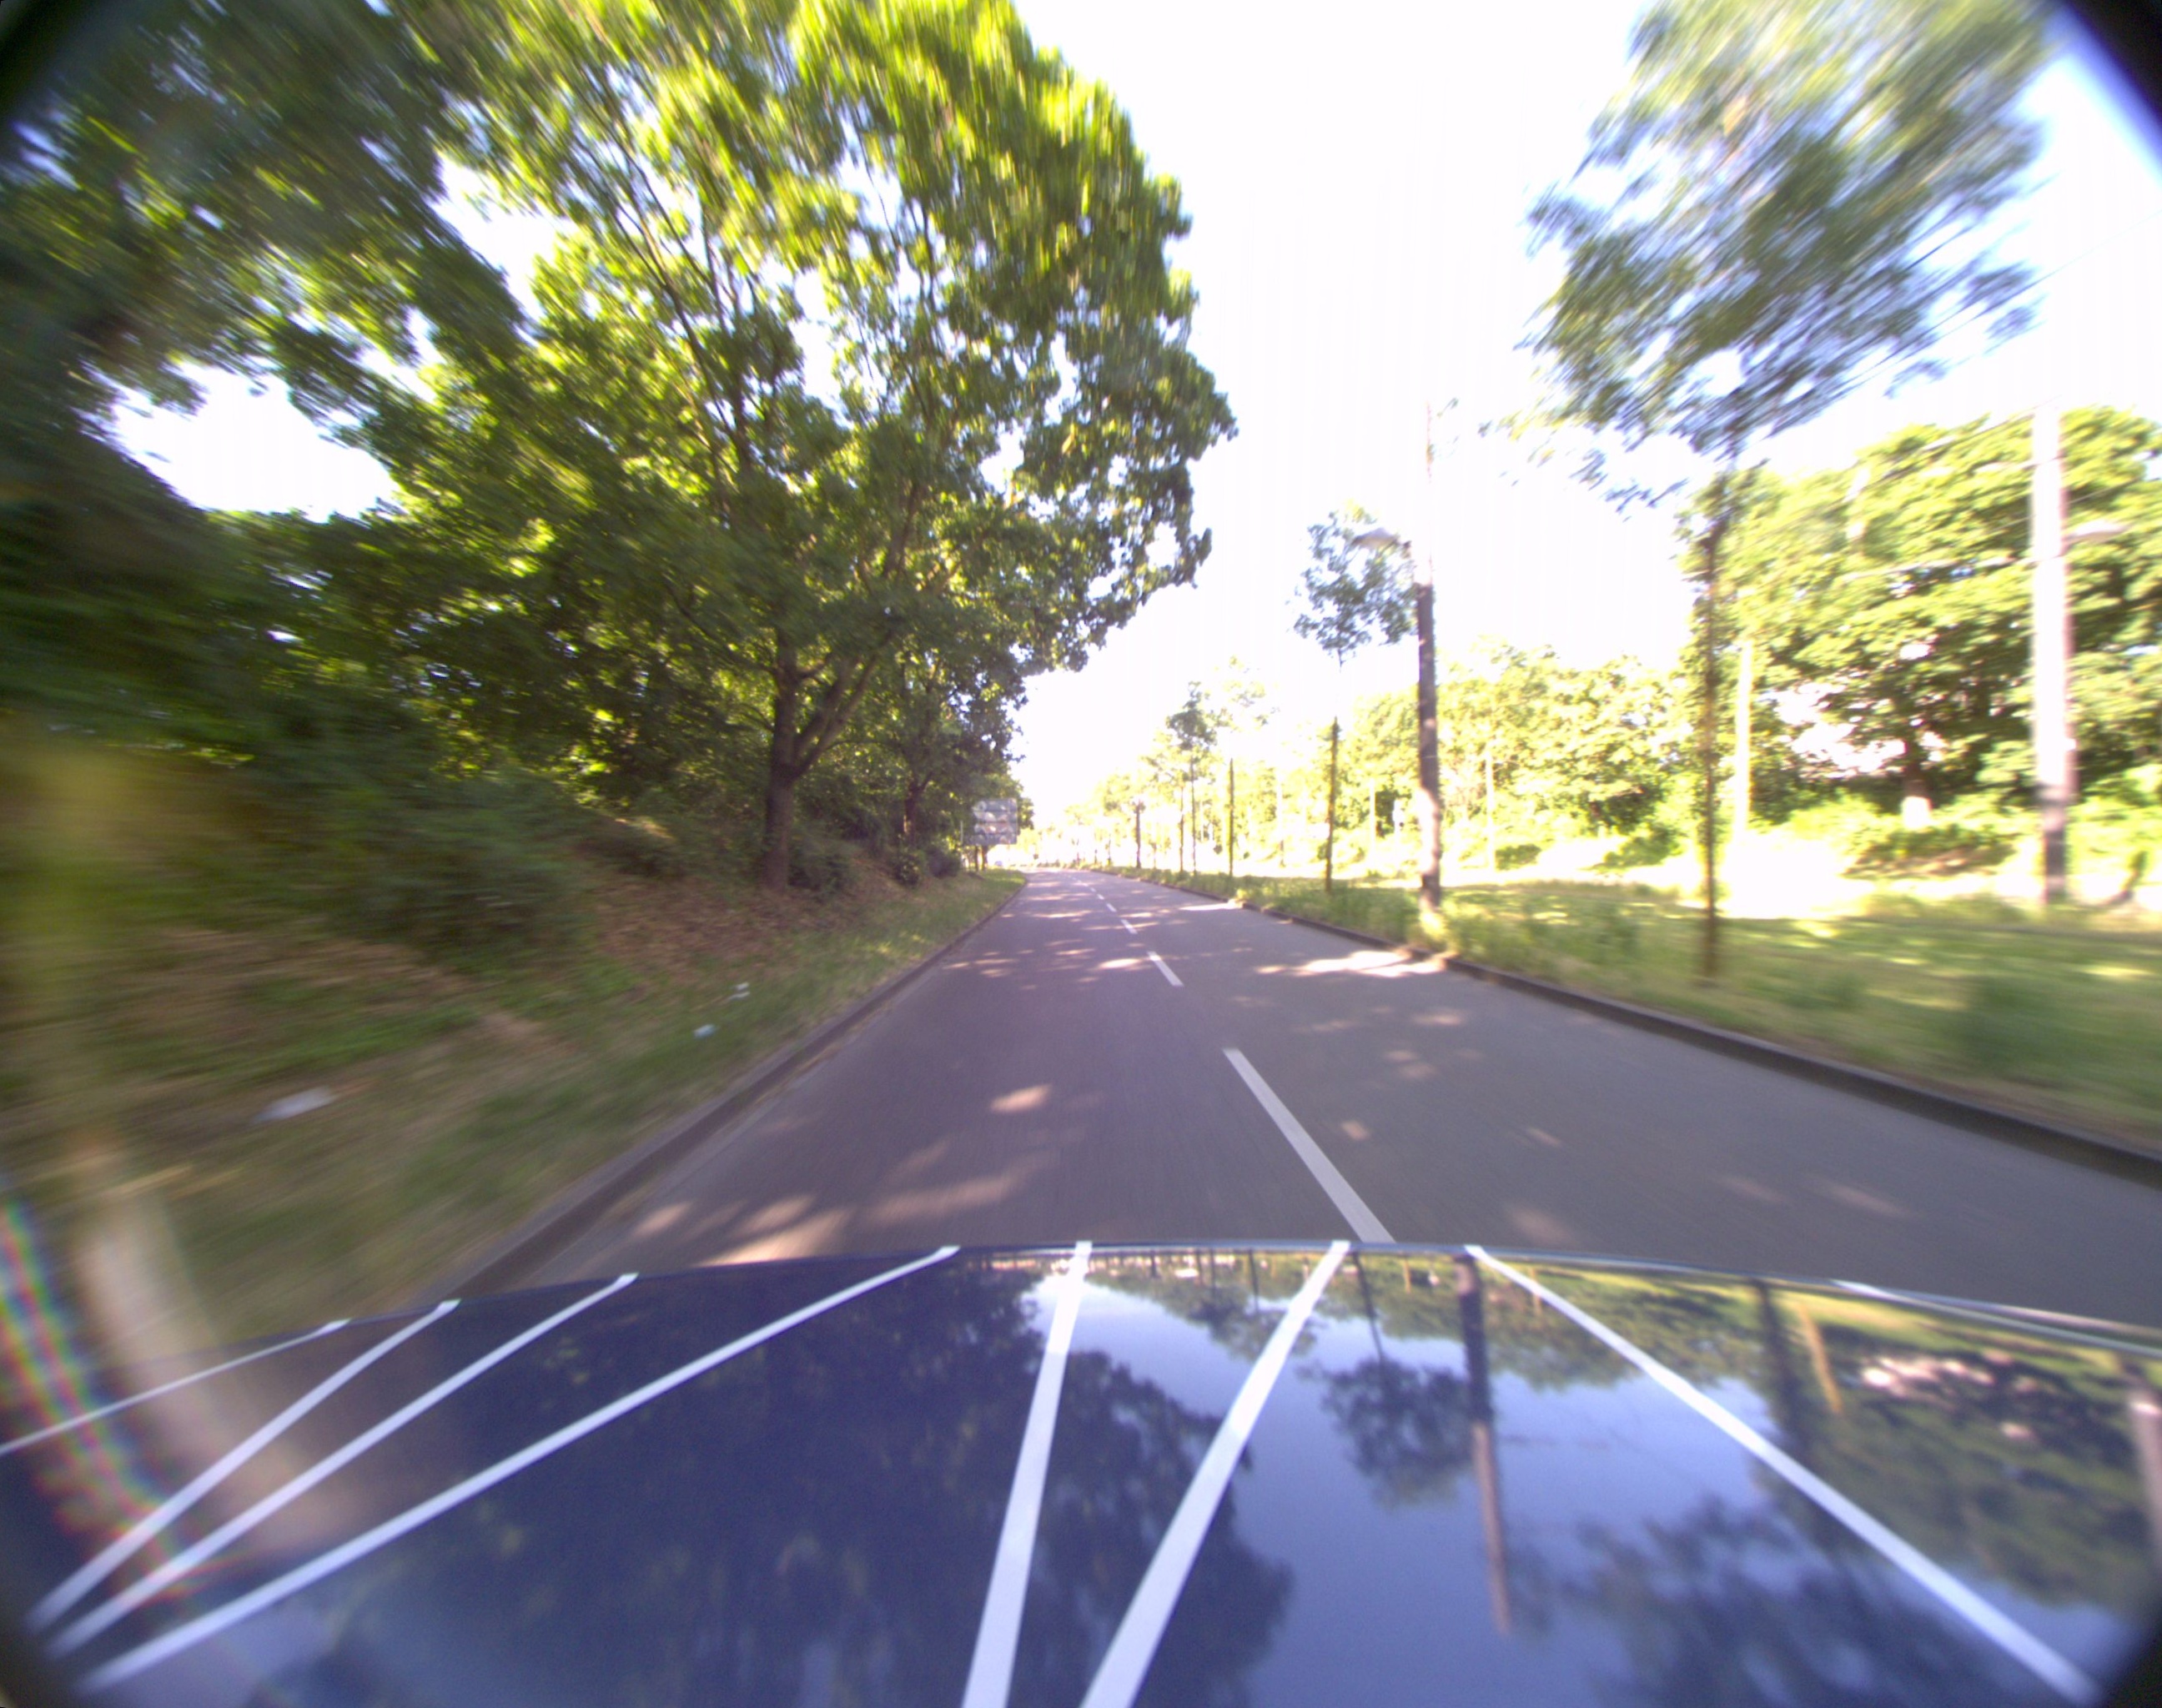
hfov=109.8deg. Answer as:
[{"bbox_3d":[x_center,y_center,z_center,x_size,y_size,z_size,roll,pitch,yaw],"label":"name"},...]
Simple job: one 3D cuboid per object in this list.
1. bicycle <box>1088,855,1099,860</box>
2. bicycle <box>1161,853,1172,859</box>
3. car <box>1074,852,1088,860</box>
[{"bbox_3d":[3.239,0.851,195.511,2.583,1.301,0.662,-1,0,-20],"label":"bicycle"},{"bbox_3d":[20.085,0.501,178.167,2.554,1.205,0.718,-1,0,-19],"label":"bicycle"},{"bbox_3d":[0.072,0.491,171.913,1.827,1.630,4.485,-1,-3,-18],"label":"car"}]
